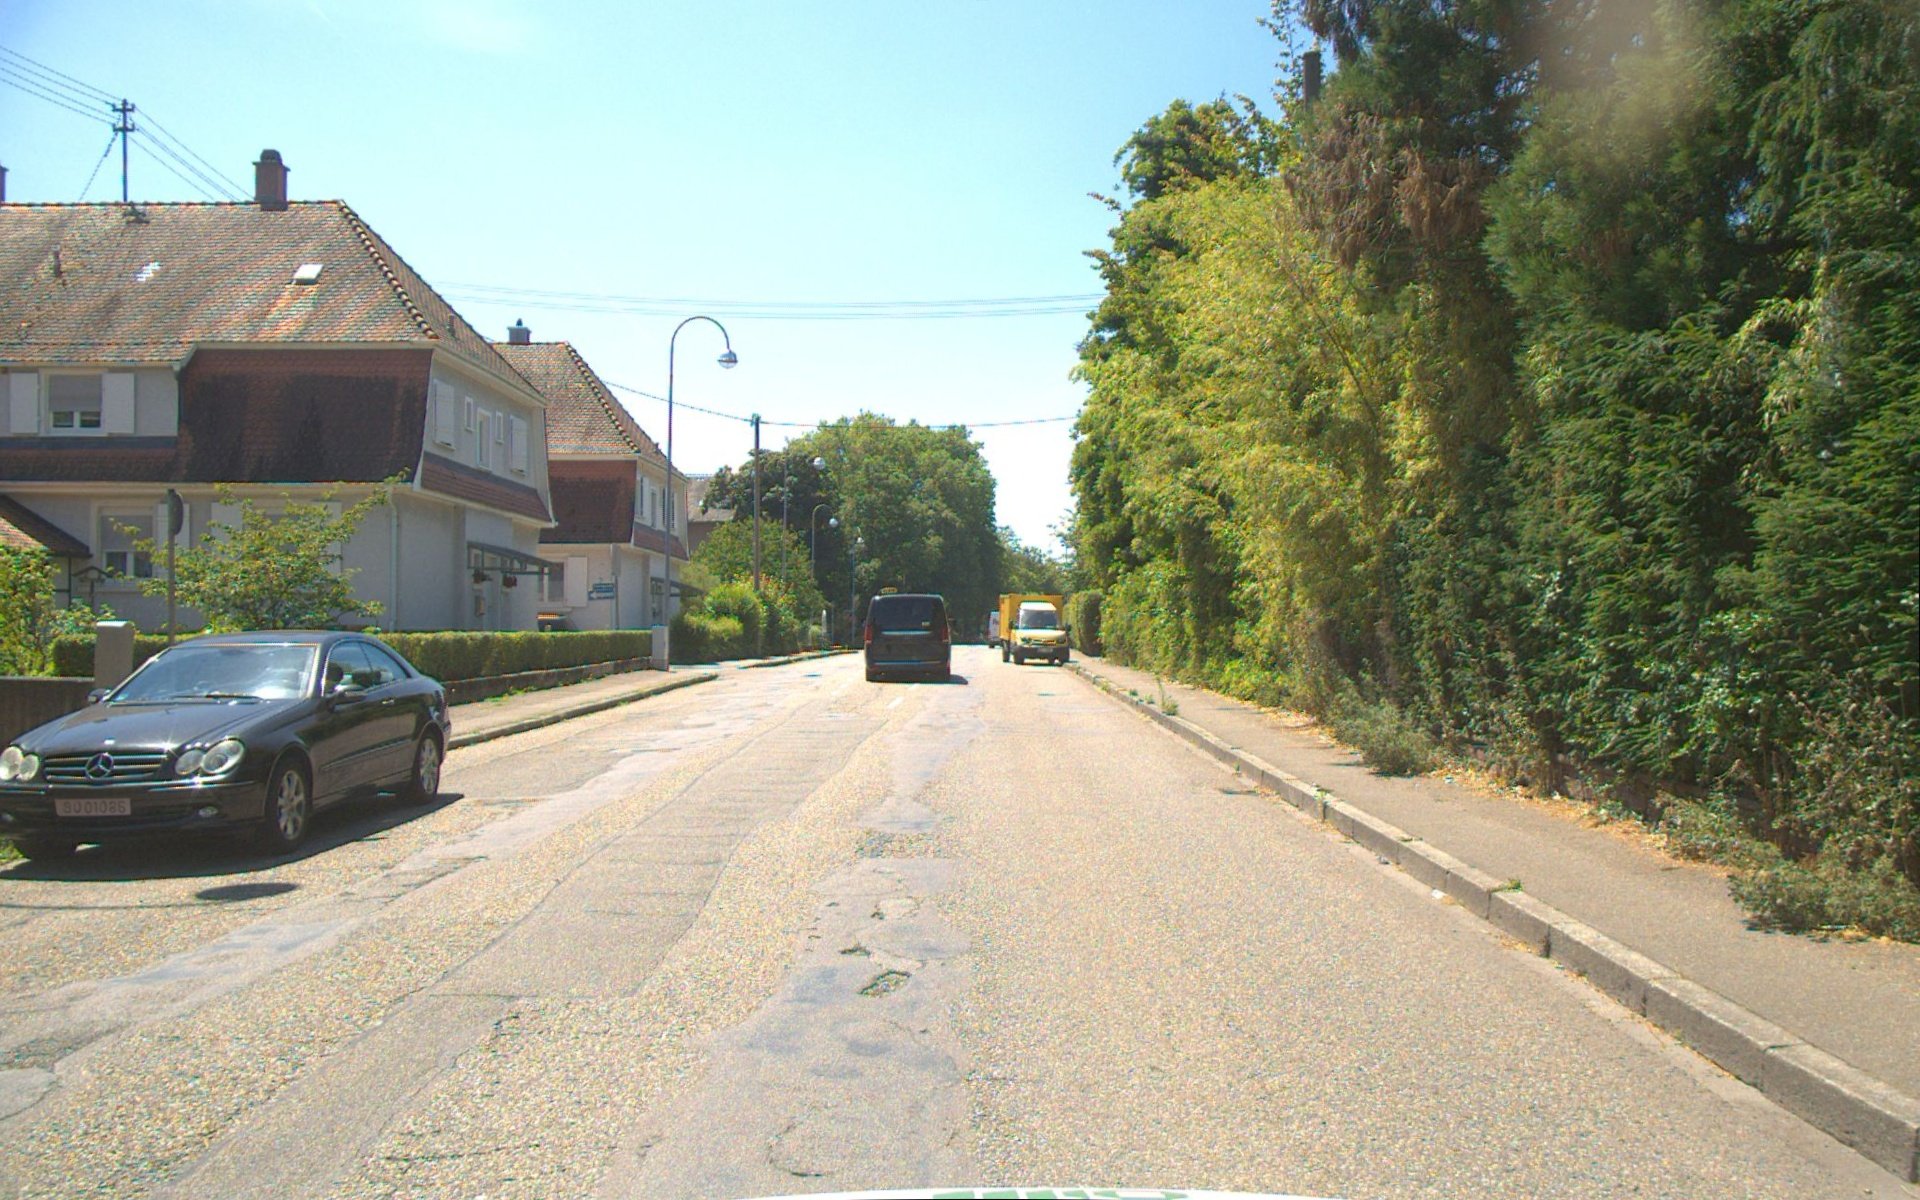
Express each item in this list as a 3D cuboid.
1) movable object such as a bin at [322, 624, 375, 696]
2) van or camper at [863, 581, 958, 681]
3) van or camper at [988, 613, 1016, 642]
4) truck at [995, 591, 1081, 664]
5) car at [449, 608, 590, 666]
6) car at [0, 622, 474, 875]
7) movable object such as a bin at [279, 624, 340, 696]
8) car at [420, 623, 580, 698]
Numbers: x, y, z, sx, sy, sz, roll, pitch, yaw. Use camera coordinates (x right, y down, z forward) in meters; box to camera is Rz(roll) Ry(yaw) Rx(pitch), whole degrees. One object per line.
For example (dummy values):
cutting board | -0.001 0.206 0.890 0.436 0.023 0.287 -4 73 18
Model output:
movable object such as a bin | -11.673 1.132 31.584 0.675 1.345 0.919 0 -1 -2
van or camper | -1.034 0.686 37.061 1.863 2.049 5.270 1 -1 1
van or camper | 2.990 1.959 119.273 1.952 2.049 4.000 0 -1 1
truck | 2.521 0.911 55.033 2.309 2.298 6.088 0 -1 -3
car | -13.369 1.111 50.358 3.788 1.670 1.880 -1 -1 0
car | -5.002 0.905 11.910 1.631 1.410 4.380 -2 0 1
movable object such as a bin | -12.430 1.135 31.626 0.802 1.345 0.919 0 -1 -2
car | -12.475 1.616 44.991 3.788 1.938 1.880 -1 -1 0
